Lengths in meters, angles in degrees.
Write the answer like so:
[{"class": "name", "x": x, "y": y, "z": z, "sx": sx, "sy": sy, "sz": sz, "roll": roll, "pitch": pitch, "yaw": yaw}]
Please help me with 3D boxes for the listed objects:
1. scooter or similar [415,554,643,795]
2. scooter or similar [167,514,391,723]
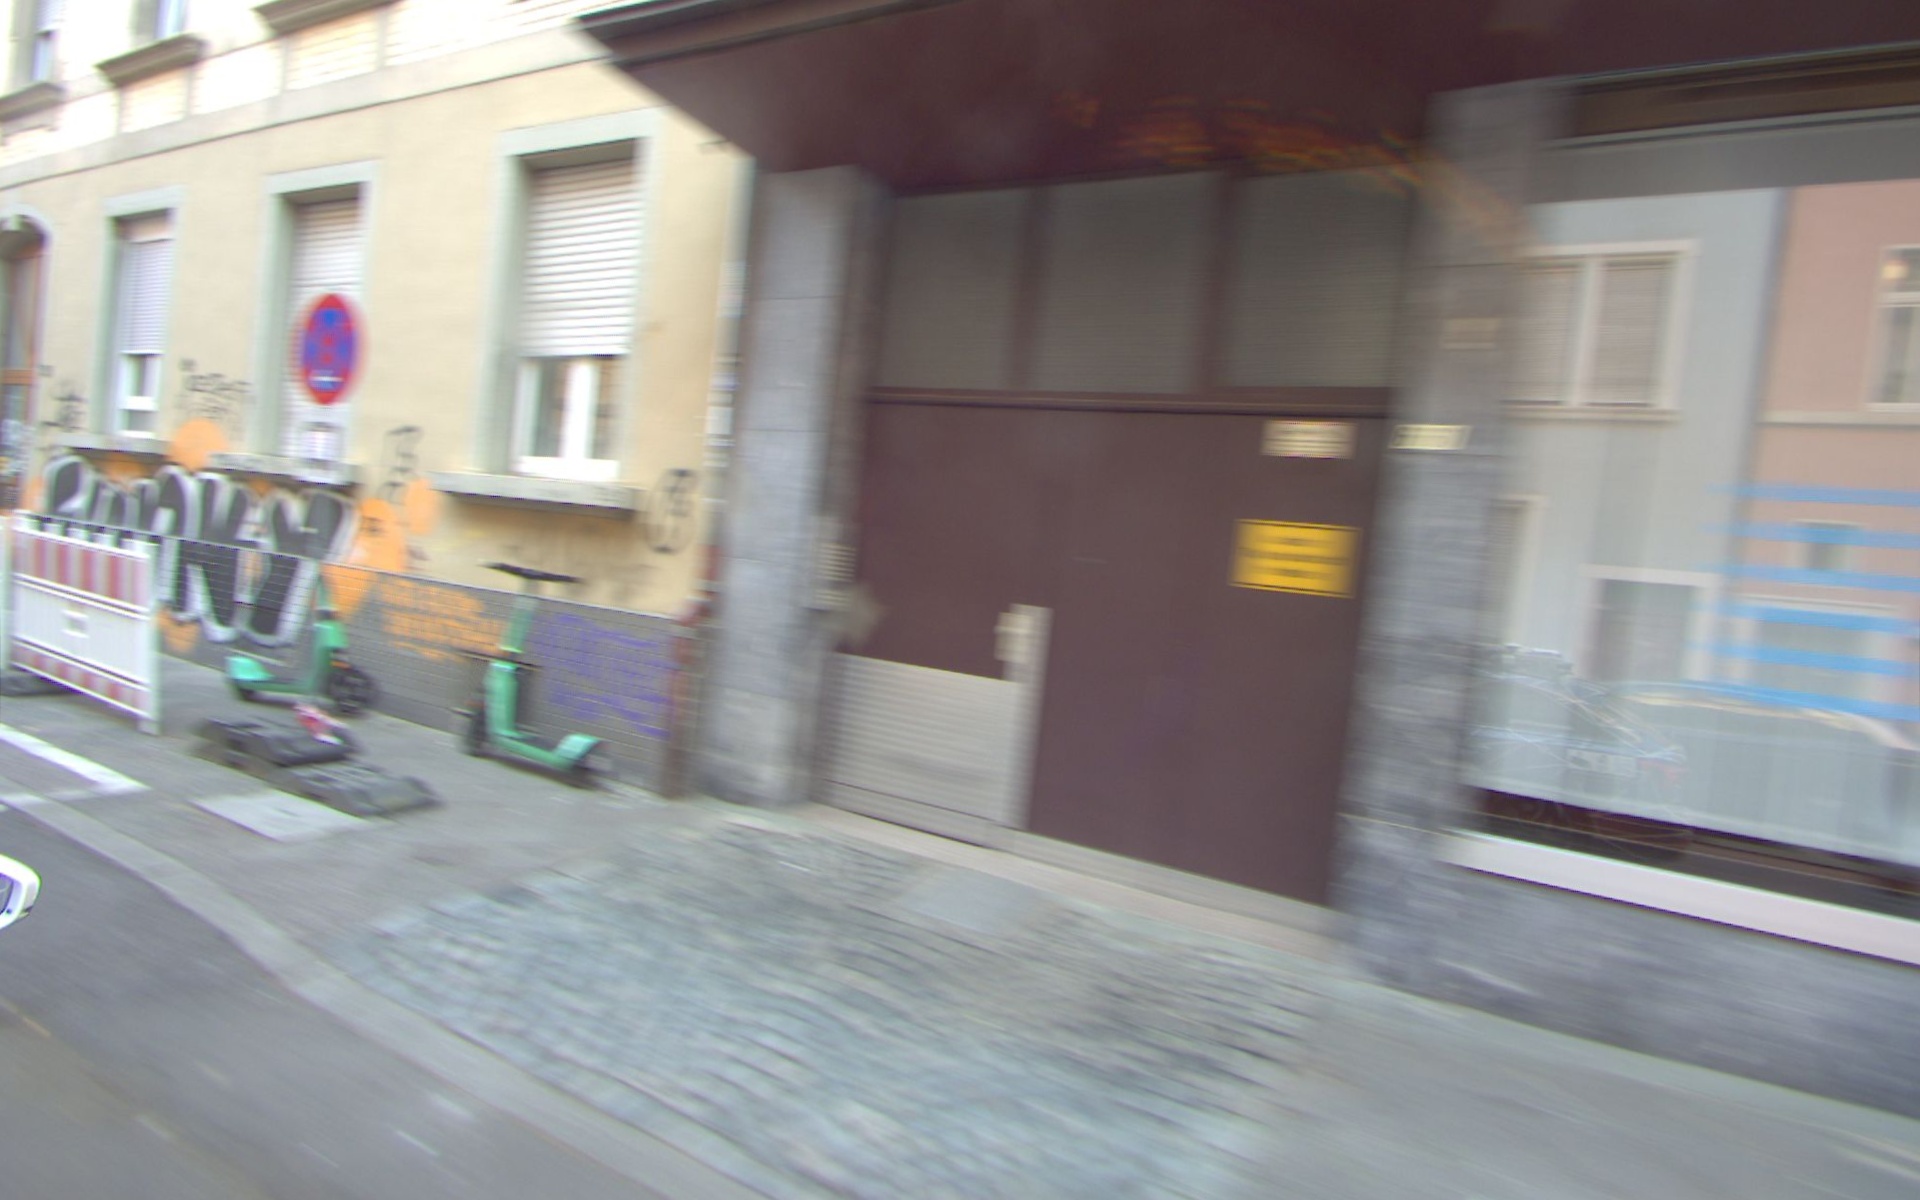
[{"class": "scooter or similar", "x": -2.511, "y": 0.377, "z": 5.800, "sx": 1.419, "sy": 1.160, "sz": 0.388, "roll": 7, "pitch": 6, "yaw": 29}, {"class": "scooter or similar", "x": -4.600, "y": 0.095, "z": 6.785, "sx": 1.417, "sy": 1.227, "sz": 0.455, "roll": 6, "pitch": 5, "yaw": 17}]
